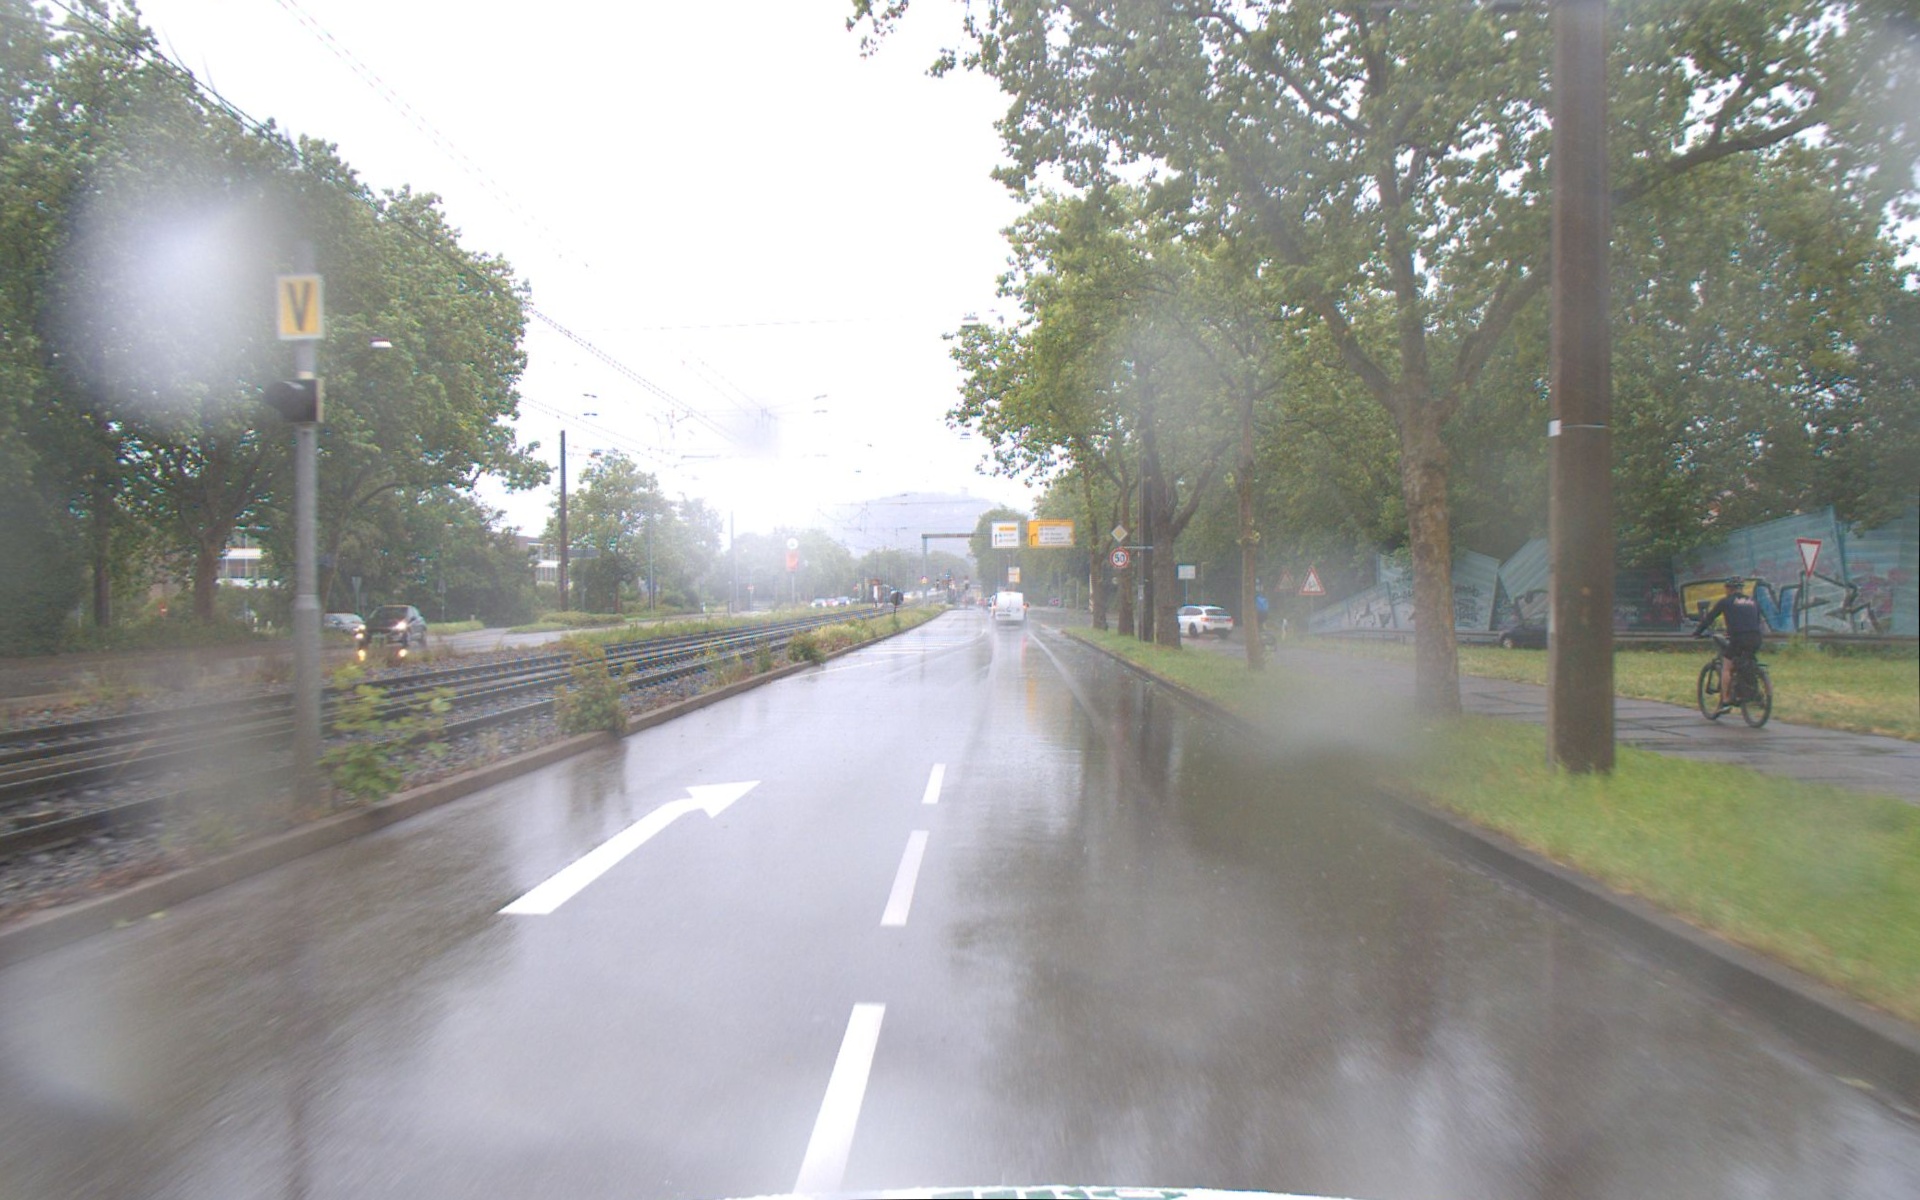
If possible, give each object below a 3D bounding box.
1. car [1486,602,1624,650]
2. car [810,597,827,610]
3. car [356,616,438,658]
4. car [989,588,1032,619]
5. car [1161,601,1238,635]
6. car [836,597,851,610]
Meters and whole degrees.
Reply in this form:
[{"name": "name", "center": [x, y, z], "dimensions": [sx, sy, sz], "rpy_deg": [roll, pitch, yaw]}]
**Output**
[{"name": "car", "center": [20.192, 0.843, 56.323], "dimensions": [1.839, 1.563, 4.481], "rpy_deg": [0, 0, -25]}, {"name": "car", "center": [-17.991, 0.427, 210.020], "dimensions": [1.904, 1.716, 4.778], "rpy_deg": [0, 0, -3]}, {"name": "car", "center": [-20.273, 1.320, 59.706], "dimensions": [1.648, 1.430, 3.939], "rpy_deg": [0, 0, -1]}, {"name": "car", "center": [2.476, 0.193, 81.685], "dimensions": [2.035, 1.445, 4.000], "rpy_deg": [-1, 0, 1]}, {"name": "car", "center": [11.166, 0.818, 77.459], "dimensions": [1.917, 1.563, 4.446], "rpy_deg": [0, 0, -17]}, {"name": "car", "center": [-14.832, 0.399, 210.646], "dimensions": [1.904, 1.644, 4.986], "rpy_deg": [0, 0, -3]}]
